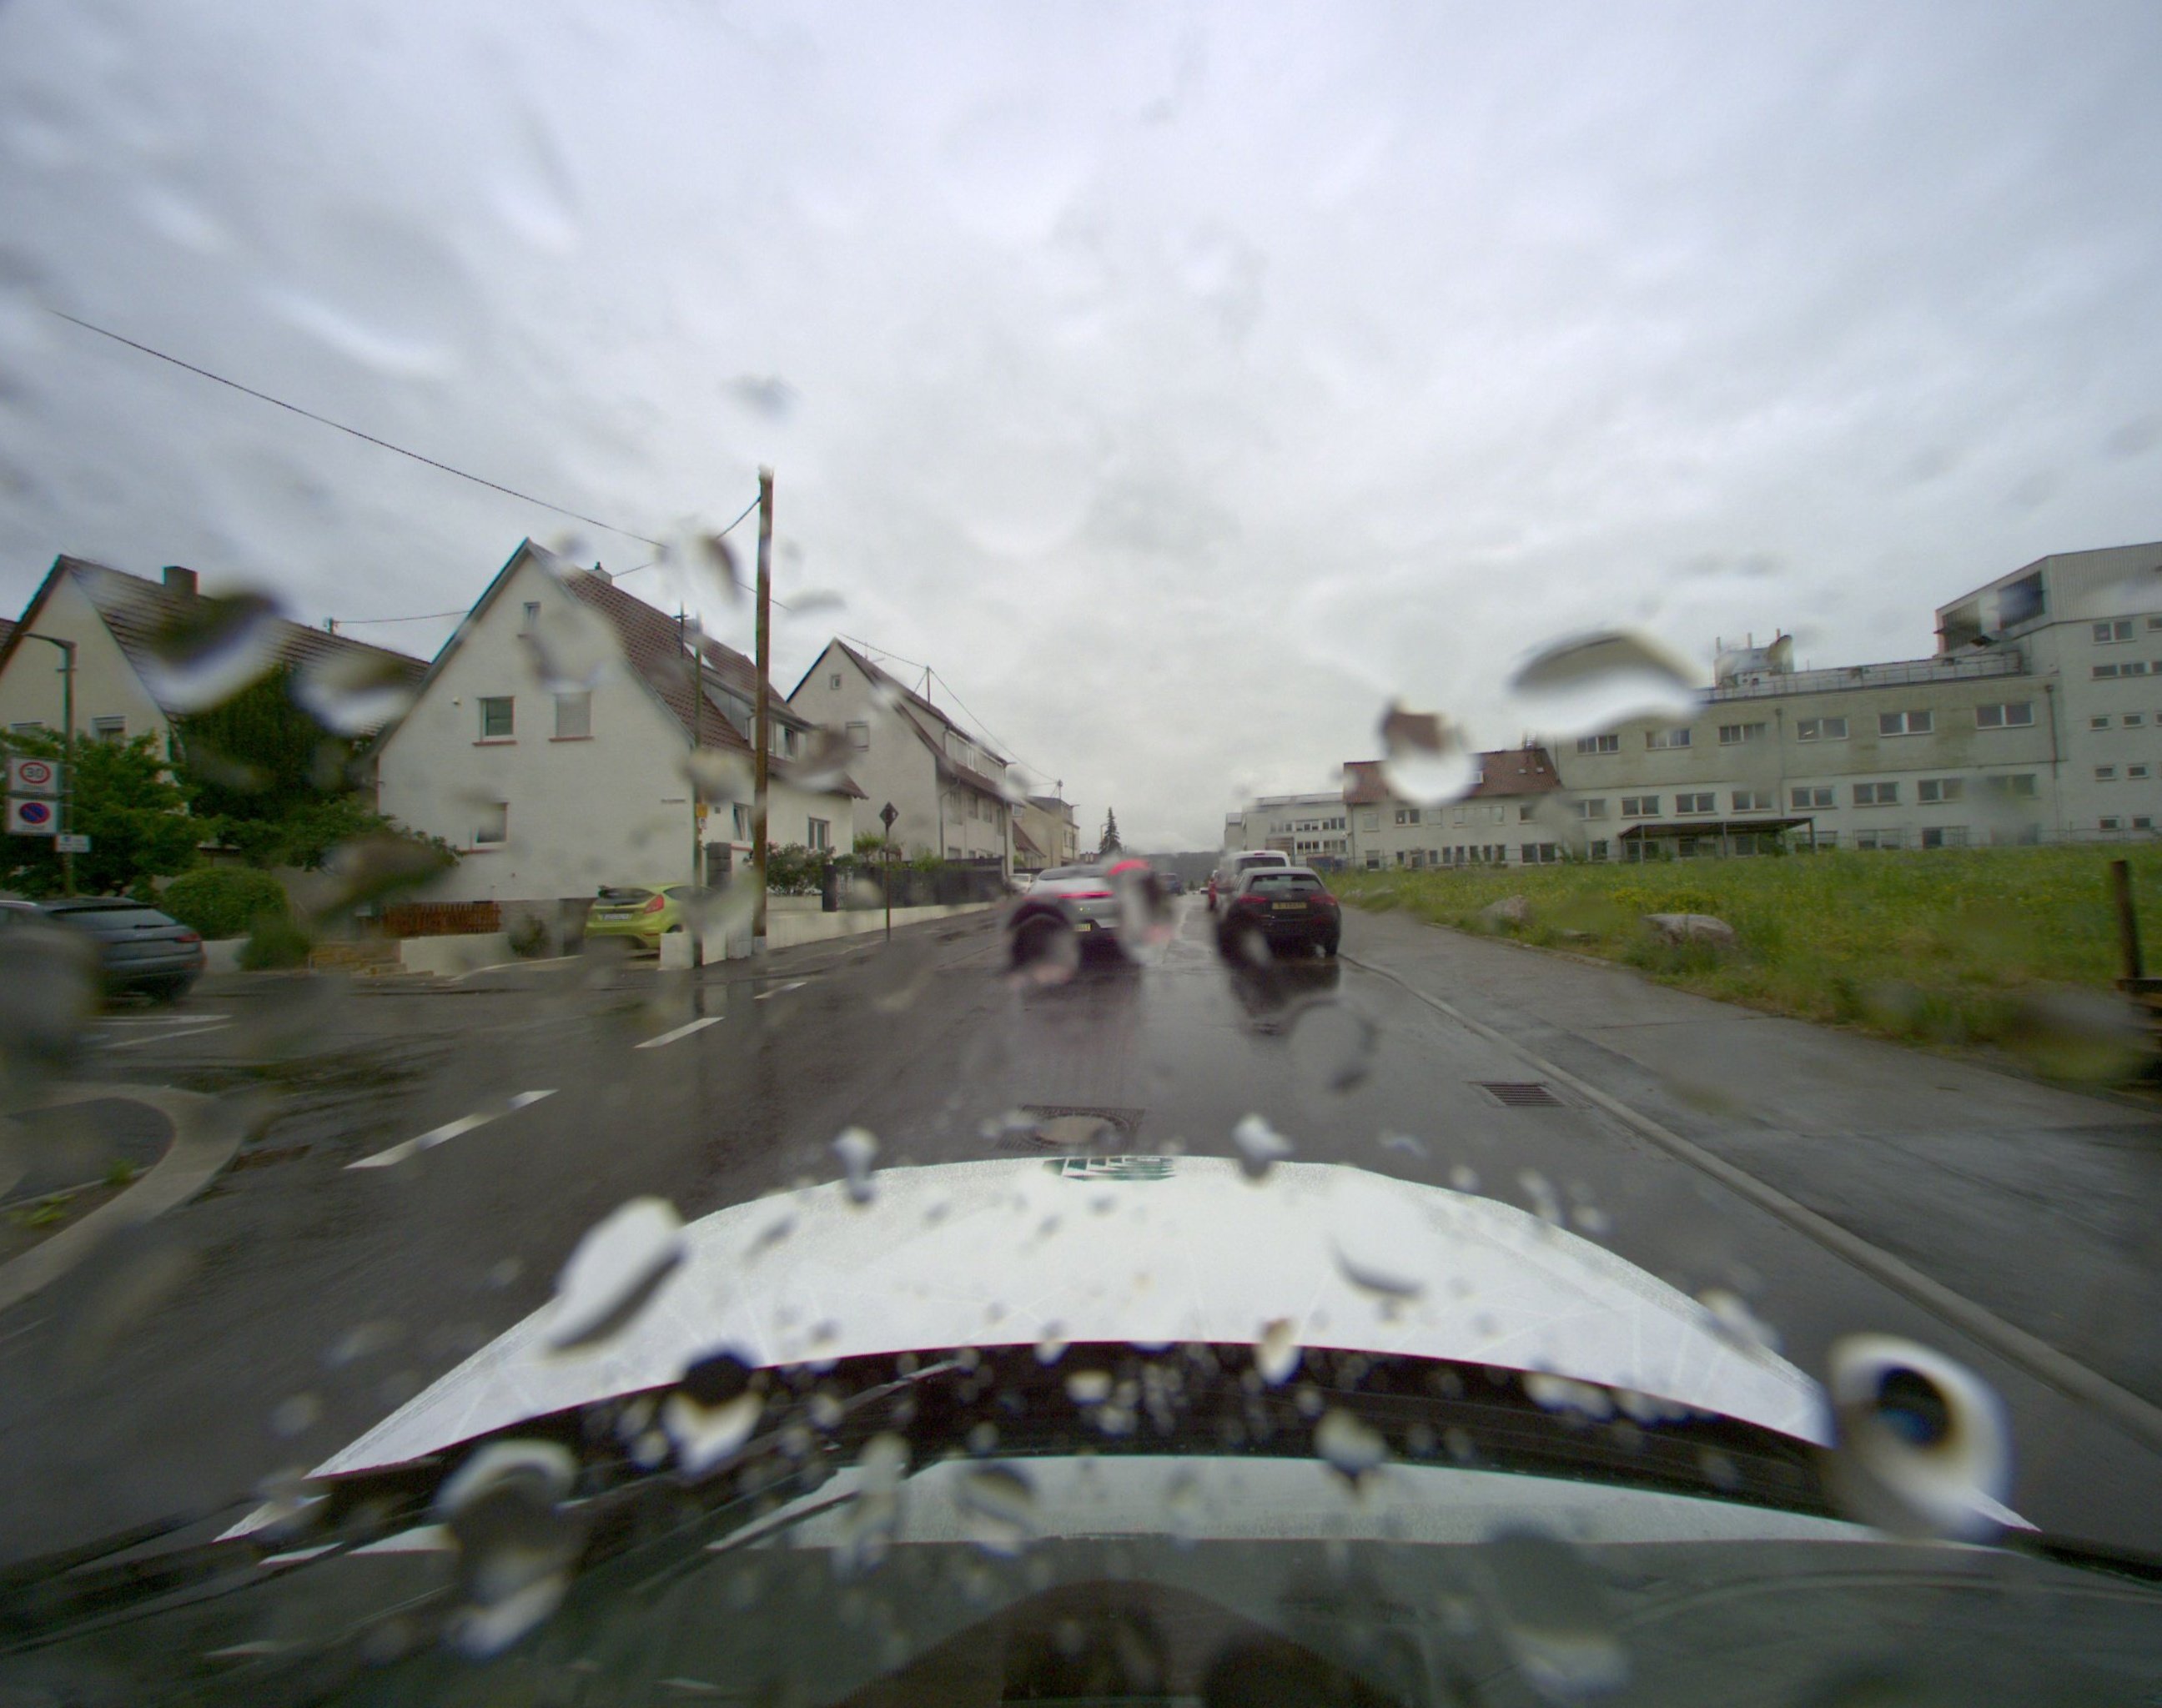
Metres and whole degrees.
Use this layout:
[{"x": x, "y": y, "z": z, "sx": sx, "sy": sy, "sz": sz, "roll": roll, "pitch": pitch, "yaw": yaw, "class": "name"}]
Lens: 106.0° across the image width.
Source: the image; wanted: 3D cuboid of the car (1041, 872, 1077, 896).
[{"x": -1.361, "y": 1.885, "z": 51.913, "sx": 1.819, "sy": 1.369, "sz": 4.574, "roll": 1, "pitch": -1, "yaw": 4, "class": "car"}]

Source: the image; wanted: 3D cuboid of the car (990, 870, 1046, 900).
[{"x": -3.340, "y": 1.654, "z": 44.346, "sx": 1.982, "sy": 1.510, "sz": 4.906, "roll": 1, "pitch": -1, "yaw": 8, "class": "car"}]

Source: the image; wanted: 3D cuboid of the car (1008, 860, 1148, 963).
[{"x": 0.140, "y": 0.924, "z": 14.562, "sx": 1.983, "sy": 1.502, "sz": 4.677, "roll": -2, "pitch": -1, "yaw": 6, "class": "car"}]

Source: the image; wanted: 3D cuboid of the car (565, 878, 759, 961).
[{"x": -8.294, "y": 1.251, "z": 16.482, "sx": 1.768, "sy": 1.467, "sz": 3.465, "roll": -2, "pitch": -2, "yaw": 9, "class": "car"}]

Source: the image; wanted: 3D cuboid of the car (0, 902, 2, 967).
[{"x": -27.597, "y": 1.973, "z": 18.048, "sx": 2.004, "sy": 1.577, "sz": 3.941, "roll": -1, "pitch": 0, "yaw": 8, "class": "car"}]

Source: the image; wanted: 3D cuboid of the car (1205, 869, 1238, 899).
[{"x": 7.841, "y": 1.657, "z": 45.574, "sx": 1.672, "sy": 1.557, "sz": 3.682, "roll": -1, "pitch": -2, "yaw": 8, "class": "car"}]

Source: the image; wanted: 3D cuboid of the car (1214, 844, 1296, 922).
[{"x": 4.469, "y": 0.732, "z": 21.489, "sx": 1.759, "sy": 1.825, "sz": 4.584, "roll": -1, "pitch": -1, "yaw": 8, "class": "car"}]

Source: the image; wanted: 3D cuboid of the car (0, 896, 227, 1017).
[{"x": -14.884, "y": 1.393, "z": 11.641, "sx": 3.820, "sy": 1.467, "sz": 1.789, "roll": -1, "pitch": 0, "yaw": 9, "class": "car"}]

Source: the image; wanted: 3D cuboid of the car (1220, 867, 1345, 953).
[{"x": 3.509, "y": 0.935, "z": 14.908, "sx": 1.759, "sy": 1.336, "sz": 4.329, "roll": -1, "pitch": -1, "yaw": 8, "class": "car"}]

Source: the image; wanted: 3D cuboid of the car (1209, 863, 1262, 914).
[{"x": 5.274, "y": 1.143, "z": 28.043, "sx": 1.632, "sy": 1.575, "sz": 4.655, "roll": -1, "pitch": -1, "yaw": 10, "class": "car"}]

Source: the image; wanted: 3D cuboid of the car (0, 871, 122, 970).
[{"x": -23.160, "y": 1.363, "z": 16.726, "sx": 1.997, "sy": 2.014, "sz": 3.939, "roll": 0, "pitch": -2, "yaw": 7, "class": "car"}]

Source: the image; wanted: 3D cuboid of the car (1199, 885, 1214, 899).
[{"x": 19.407, "y": 5.886, "z": 125.918, "sx": 1.984, "sy": 2.014, "sz": 4.004, "roll": -3, "pitch": -5, "yaw": 5, "class": "car"}]
